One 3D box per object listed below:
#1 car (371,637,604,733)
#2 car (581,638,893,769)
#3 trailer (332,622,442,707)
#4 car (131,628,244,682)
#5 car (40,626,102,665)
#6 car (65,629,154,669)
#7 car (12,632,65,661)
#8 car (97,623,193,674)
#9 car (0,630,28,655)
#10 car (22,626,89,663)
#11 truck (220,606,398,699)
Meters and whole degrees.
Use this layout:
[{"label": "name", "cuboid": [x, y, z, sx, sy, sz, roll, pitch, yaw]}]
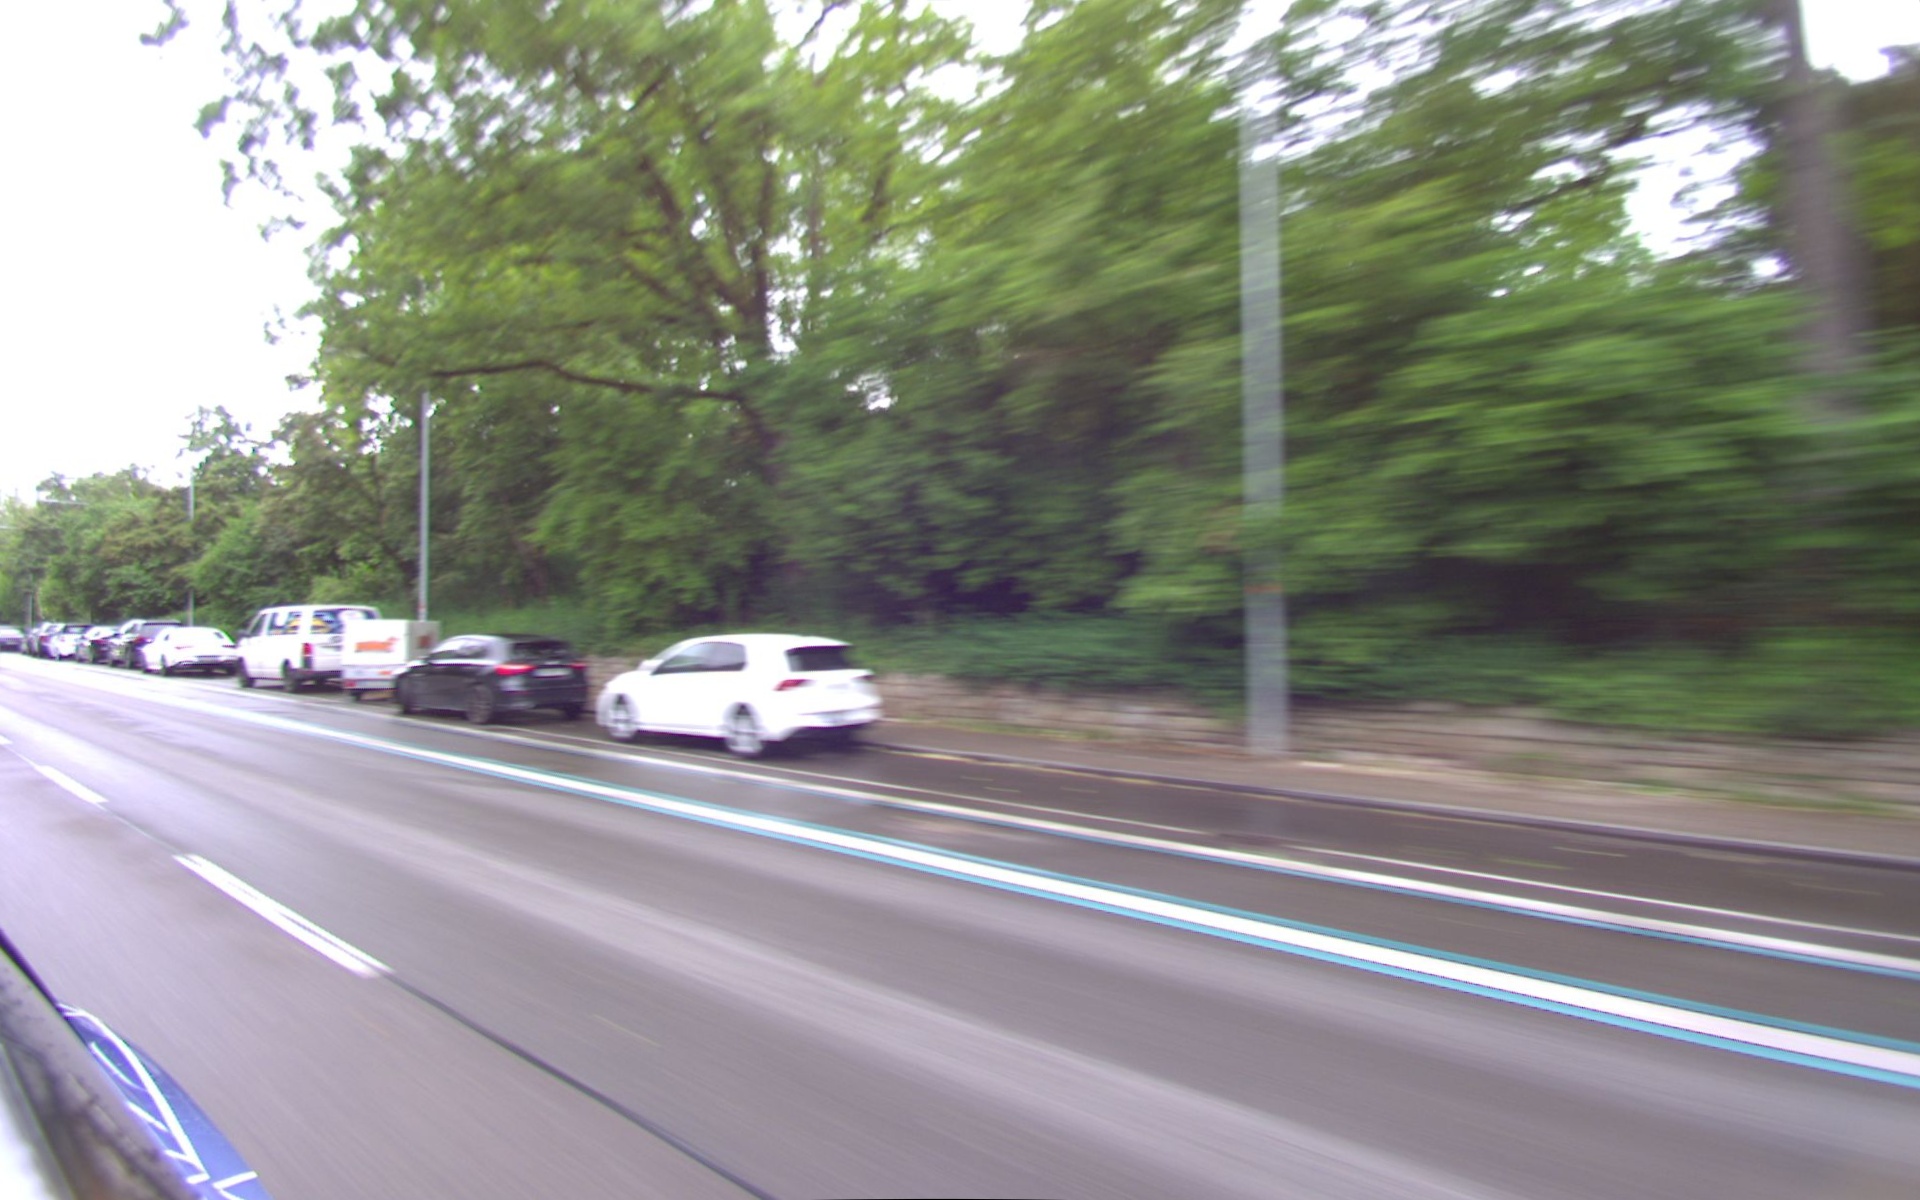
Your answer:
[{"label": "car", "cuboid": [-8.172, 1.357, 17.361, 4.439, 1.409, 1.804, -1, -2, 38]}, {"label": "car", "cuboid": [-3.054, 1.237, 13.378, 4.352, 1.446, 1.737, -2, -3, 39]}, {"label": "trailer", "cuboid": [-11.898, 1.302, 21.129, 1.329, 1.670, 2.271, 0, -2, -11]}, {"label": "car", "cuboid": [-23.757, 1.627, 31.054, 4.750, 1.509, 1.788, -1, -2, 41]}, {"label": "car", "cuboid": [-37.640, 1.921, 42.839, 2.858, 1.606, 1.508, -2, -3, 40]}, {"label": "car", "cuboid": [-33.227, 1.875, 39.505, 4.549, 1.486, 1.877, -2, -2, 40]}, {"label": "car", "cuboid": [-44.815, 2.242, 49.185, 3.595, 1.303, 1.494, -2, -2, 41]}, {"label": "car", "cuboid": [-28.583, 1.674, 35.454, 4.669, 1.673, 1.718, -2, -3, 40]}, {"label": "car", "cuboid": [-52.905, 2.330, 55.798, 4.204, 1.303, 1.802, -2, -2, 41]}, {"label": "car", "cuboid": [-40.832, 1.977, 45.684, 3.991, 1.600, 1.795, -2, -3, 42]}, {"label": "truck", "cuboid": [-15.868, 1.205, 24.570, 5.152, 2.029, 2.073, -1, -2, 38]}]
